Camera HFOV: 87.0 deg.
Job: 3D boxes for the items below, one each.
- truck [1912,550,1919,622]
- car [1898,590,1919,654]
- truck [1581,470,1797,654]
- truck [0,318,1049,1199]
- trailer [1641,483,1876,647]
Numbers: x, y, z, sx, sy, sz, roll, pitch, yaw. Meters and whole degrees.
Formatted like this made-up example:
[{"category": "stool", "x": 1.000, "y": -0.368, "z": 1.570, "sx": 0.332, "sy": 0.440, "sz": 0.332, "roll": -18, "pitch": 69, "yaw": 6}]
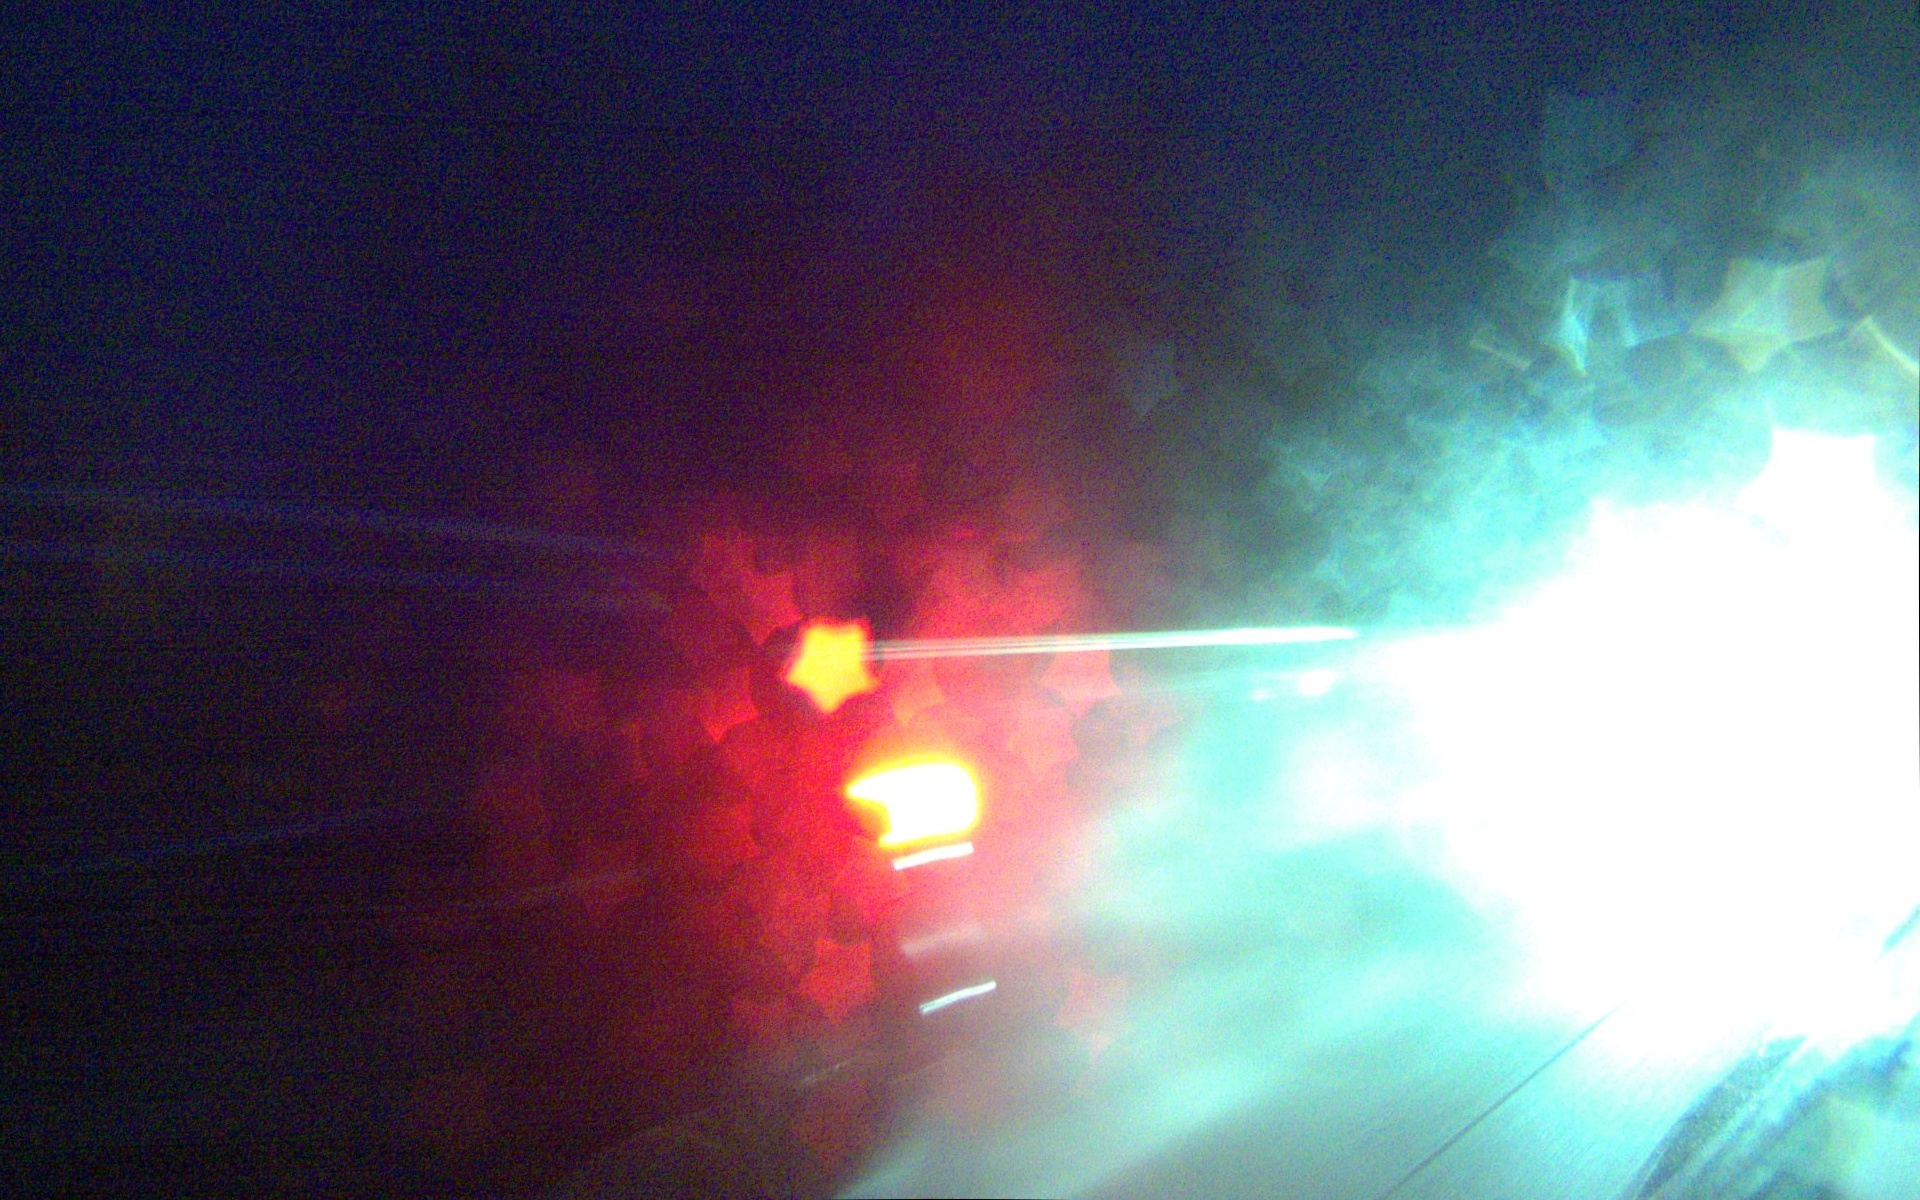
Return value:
[{"category": "truck", "x": 59.807, "y": -0.856, "z": 60.973, "sx": 5.908, "sy": 4.246, "sz": 2.777, "roll": 0, "pitch": 0, "yaw": -39}, {"category": "car", "x": 24.688, "y": 0.523, "z": 25.095, "sx": 3.700, "sy": 1.522, "sz": 1.619, "roll": -1, "pitch": 0, "yaw": -39}, {"category": "truck", "x": 19.026, "y": -0.885, "z": 26.245, "sx": 6.888, "sy": 4.155, "sz": 2.865, "roll": 0, "pitch": 0, "yaw": -39}, {"category": "truck", "x": -2.221, "y": 0.566, "z": 1.236, "sx": 4.769, "sy": 1.717, "sz": 1.847, "roll": -1, "pitch": 0, "yaw": -40}, {"category": "trailer", "x": 24.847, "y": -0.950, "z": 31.029, "sx": 13.397, "sy": 4.149, "sz": 2.871, "roll": -1, "pitch": 0, "yaw": -39}]
